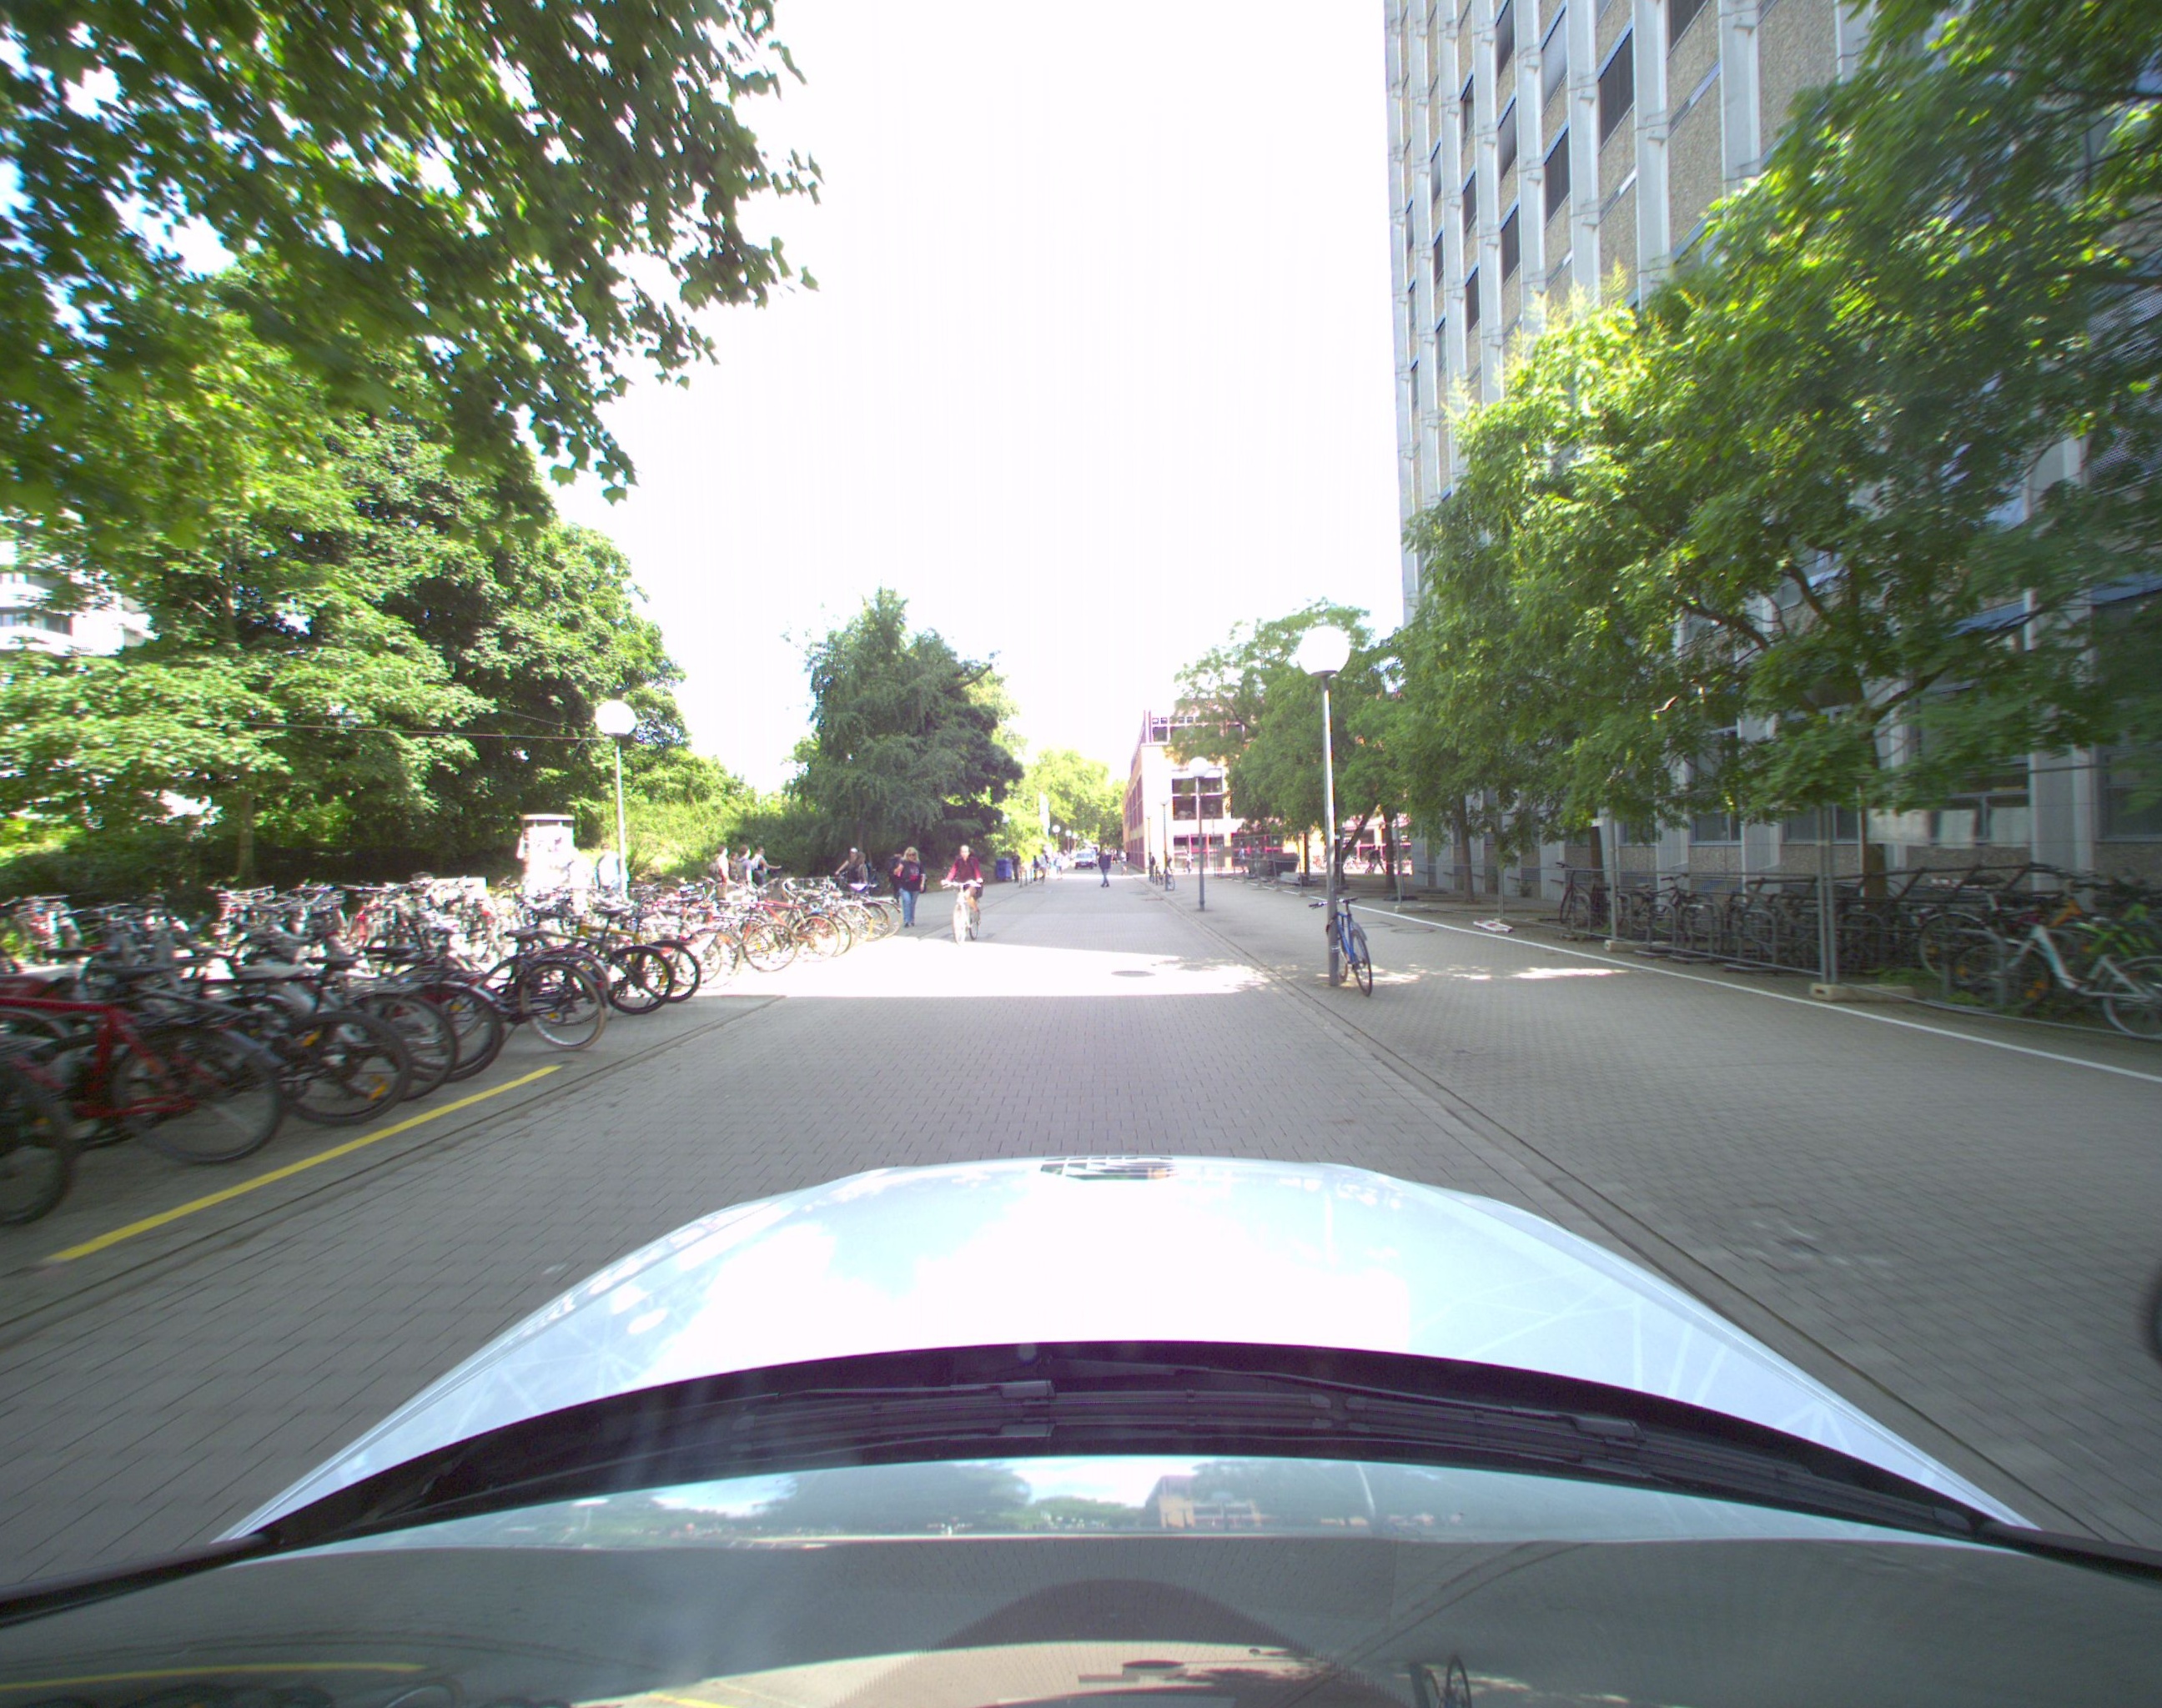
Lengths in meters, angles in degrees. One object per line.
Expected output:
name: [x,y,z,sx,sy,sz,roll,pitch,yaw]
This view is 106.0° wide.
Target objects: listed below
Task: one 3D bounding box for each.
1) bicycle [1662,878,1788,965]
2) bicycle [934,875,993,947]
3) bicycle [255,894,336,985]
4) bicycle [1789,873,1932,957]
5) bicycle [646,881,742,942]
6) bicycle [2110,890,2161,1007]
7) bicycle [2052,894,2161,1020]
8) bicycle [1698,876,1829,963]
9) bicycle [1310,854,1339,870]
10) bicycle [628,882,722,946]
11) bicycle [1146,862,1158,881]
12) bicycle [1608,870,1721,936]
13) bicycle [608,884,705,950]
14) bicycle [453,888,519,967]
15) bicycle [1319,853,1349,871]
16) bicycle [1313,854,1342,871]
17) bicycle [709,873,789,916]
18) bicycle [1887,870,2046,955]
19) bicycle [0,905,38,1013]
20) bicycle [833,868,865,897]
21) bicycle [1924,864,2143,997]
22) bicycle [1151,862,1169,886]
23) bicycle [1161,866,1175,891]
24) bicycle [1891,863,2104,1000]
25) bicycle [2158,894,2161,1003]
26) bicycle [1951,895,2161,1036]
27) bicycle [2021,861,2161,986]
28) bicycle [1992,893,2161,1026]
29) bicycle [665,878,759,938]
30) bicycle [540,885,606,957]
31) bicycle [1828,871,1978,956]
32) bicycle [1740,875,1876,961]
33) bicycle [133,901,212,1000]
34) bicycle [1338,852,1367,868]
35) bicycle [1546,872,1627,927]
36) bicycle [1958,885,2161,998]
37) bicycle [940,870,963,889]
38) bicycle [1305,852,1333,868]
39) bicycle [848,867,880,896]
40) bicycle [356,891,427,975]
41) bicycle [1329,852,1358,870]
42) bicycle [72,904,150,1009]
bicycle: [7.588,0.764,9.670,0.290,0.905,1.447,-2,0,-2]
bicycle: [-2.038,0.960,14.366,0.769,1.150,2.107,-1,-1,-1]
bicycle: [-10.407,1.097,10.773,1.677,1.083,0.477,-1,-1,36]
bicycle: [9.395,0.702,9.880,0.290,0.905,1.447,-2,0,-2]
bicycle: [-7.186,1.052,15.135,1.705,1.083,0.476,-1,0,16]
bicycle: [8.750,0.759,6.066,0.290,0.905,1.447,-2,0,-2]
bicycle: [8.293,0.795,6.087,0.290,0.905,1.447,-2,0,-2]
bicycle: [8.124,0.748,9.758,0.290,0.905,1.447,-2,0,-2]
bicycle: [16.330,0.536,54.627,1.804,1.110,0.523,0,0,-2]
bicycle: [-7.275,1.056,14.580,1.680,1.083,0.476,-1,0,20]
bicycle: [3.890,0.969,44.687,0.449,0.962,1.740,-4,0,1]
bicycle: [9.086,0.734,12.770,0.290,0.905,1.801,-2,0,-7]
bicycle: [-7.329,1.070,14.047,1.680,1.083,0.476,-1,0,20]
bicycle: [-9.057,1.078,12.376,1.678,1.083,0.477,-1,-1,43]
bicycle: [16.398,0.513,52.800,1.803,1.110,0.524,0,0,0]
bicycle: [16.227,0.537,53.660,1.801,1.110,0.524,0,0,4]
bicycle: [-8.725,1.038,21.401,1.912,1.047,0.537,-1,0,-26]
bicycle: [10.638,0.670,9.850,0.290,0.905,1.447,-2,0,-2]
bicycle: [-12.049,1.145,9.066,1.677,1.083,0.477,-1,-1,36]
bicycle: [-8.591,1.051,30.146,0.476,1.047,1.680,-1,0,-40]
bicycle: [8.827,0.657,7.629,0.290,1.094,1.447,-2,0,-2]
bicycle: [3.818,0.943,39.250,0.706,1.093,1.749,-1,0,1]
bicycle: [3.562,0.995,33.375,0.394,0.936,1.732,-3,0,1]
bicycle: [8.435,0.660,7.582,0.290,1.128,1.447,-2,0,-2]
bicycle: [9.158,0.785,6.070,0.290,0.905,1.447,-2,0,-2]
bicycle: [7.611,0.806,6.239,0.290,0.905,1.447,-2,0,-2]
bicycle: [9.816,0.630,7.630,0.290,1.099,1.447,-2,0,-2]
bicycle: [7.946,0.790,6.227,0.290,0.905,1.447,-2,0,-2]
bicycle: [-7.085,1.027,15.647,1.682,1.110,0.476,-1,0,13]
bicycle: [-8.339,1.067,13.339,1.678,1.083,0.477,-1,-1,43]
bicycle: [9.899,0.687,9.872,0.290,0.905,1.447,-2,0,-2]
bicycle: [8.723,0.737,9.844,0.290,0.905,1.447,-2,0,-2]
bicycle: [-11.198,1.148,10.025,1.677,1.083,0.477,-1,-1,36]
bicycle: [18.631,0.413,55.908,1.803,1.110,0.473,0,0,-5]
bicycle: [9.220,0.800,14.905,0.290,0.905,1.615,-2,0,-7]
bicycle: [9.179,0.769,7.634,0.290,0.887,1.447,-2,0,-2]
bicycle: [-6.397,1.240,40.254,0.418,0.910,1.747,-1,-2,17]
bicycle: [16.498,0.417,56.494,1.803,1.110,0.523,0,0,-1]
bicycle: [-8.176,1.018,30.626,0.476,1.047,1.680,1,-1,-40]
bicycle: [-9.914,1.100,11.687,1.678,1.083,0.477,-1,-1,39]
bicycle: [16.426,0.436,51.015,1.686,1.110,0.475,0,0,4]
bicycle: [-11.480,1.169,9.626,1.677,1.083,0.477,-1,-1,36]
